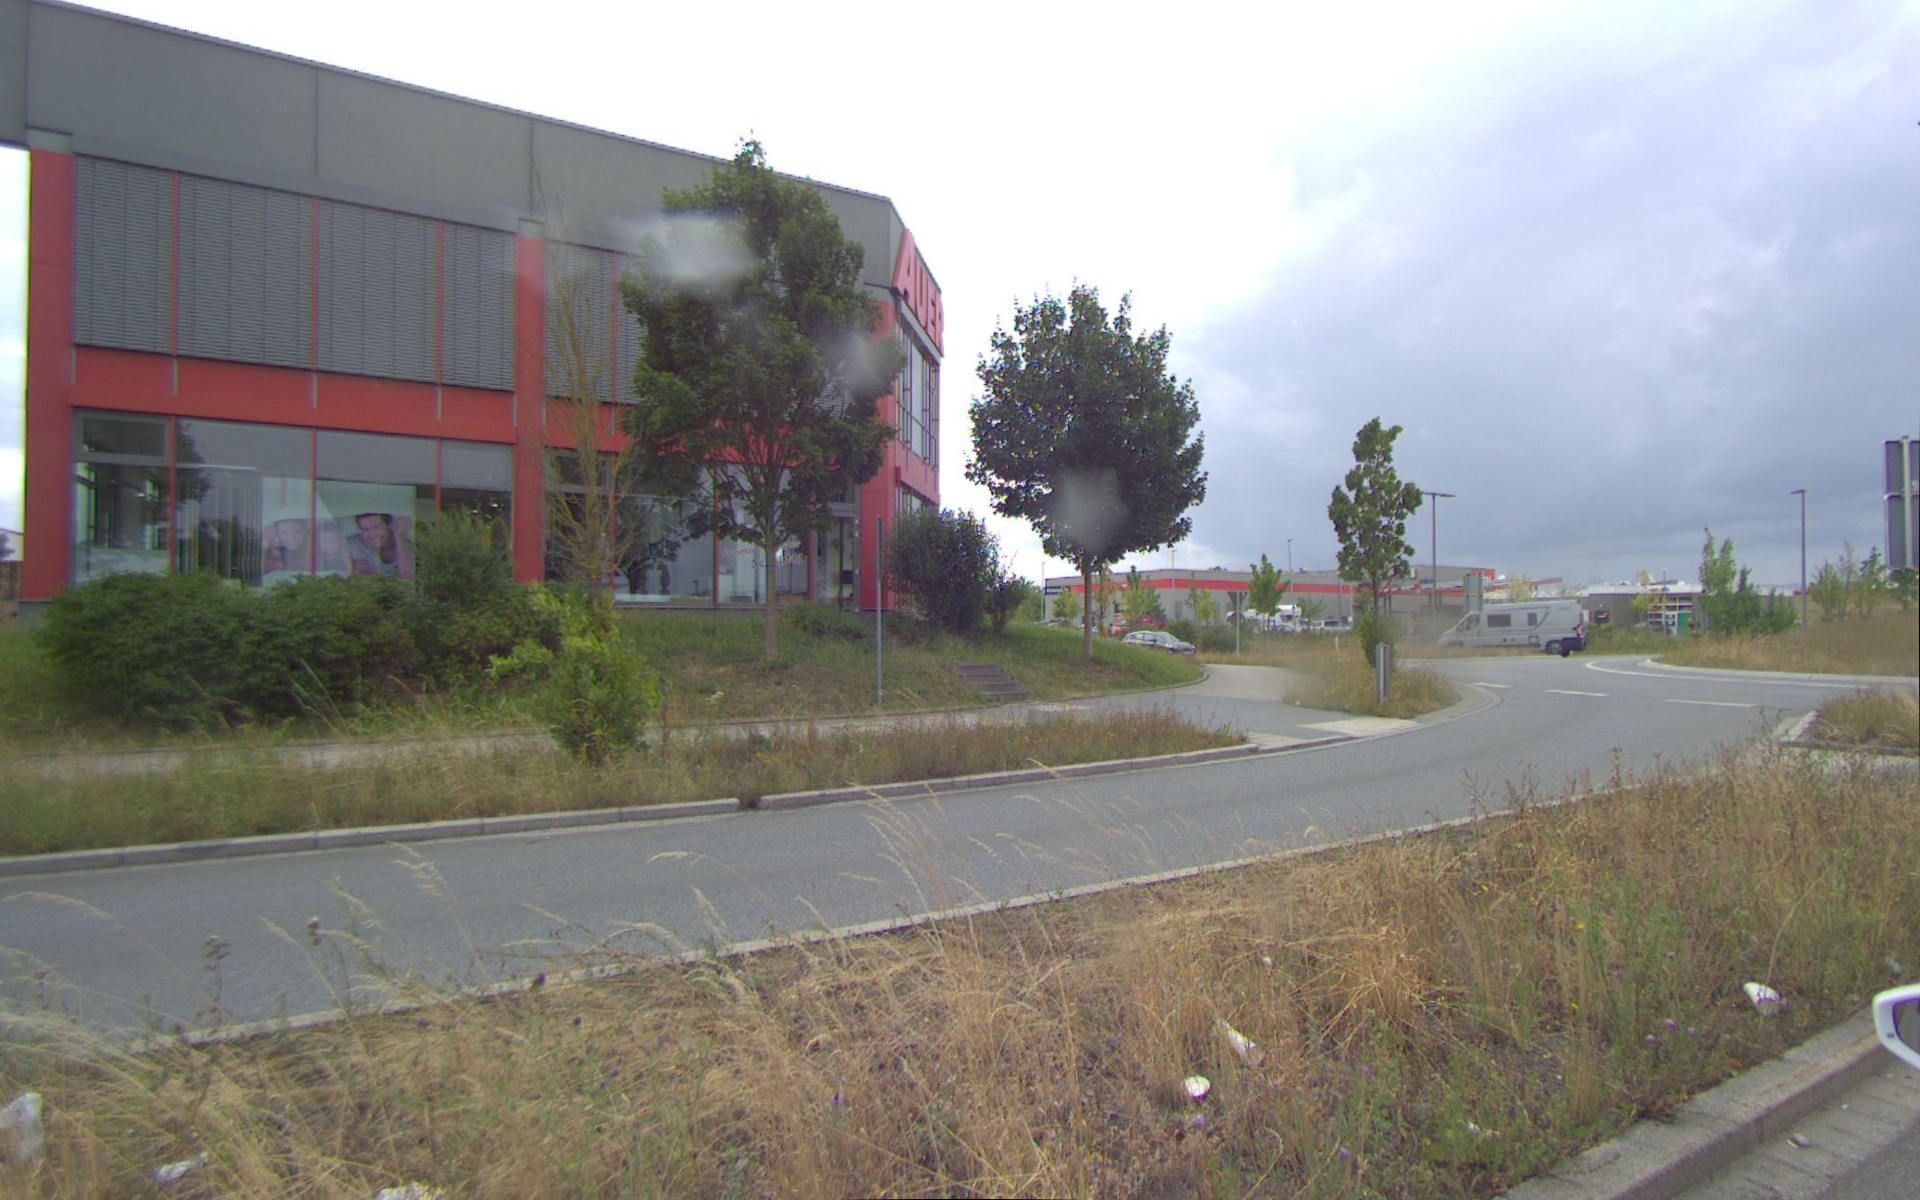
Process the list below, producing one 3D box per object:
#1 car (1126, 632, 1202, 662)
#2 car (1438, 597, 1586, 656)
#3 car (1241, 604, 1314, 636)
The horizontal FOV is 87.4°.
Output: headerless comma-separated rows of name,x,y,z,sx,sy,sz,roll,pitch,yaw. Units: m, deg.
car,9.989,2.288,49.306,1.658,1.267,3.564,2,-1,-31
car,25.131,1.177,45.828,5.621,2.419,2.272,2,-1,38
car,30.960,1.964,97.693,7.607,2.857,2.449,2,-1,-33
